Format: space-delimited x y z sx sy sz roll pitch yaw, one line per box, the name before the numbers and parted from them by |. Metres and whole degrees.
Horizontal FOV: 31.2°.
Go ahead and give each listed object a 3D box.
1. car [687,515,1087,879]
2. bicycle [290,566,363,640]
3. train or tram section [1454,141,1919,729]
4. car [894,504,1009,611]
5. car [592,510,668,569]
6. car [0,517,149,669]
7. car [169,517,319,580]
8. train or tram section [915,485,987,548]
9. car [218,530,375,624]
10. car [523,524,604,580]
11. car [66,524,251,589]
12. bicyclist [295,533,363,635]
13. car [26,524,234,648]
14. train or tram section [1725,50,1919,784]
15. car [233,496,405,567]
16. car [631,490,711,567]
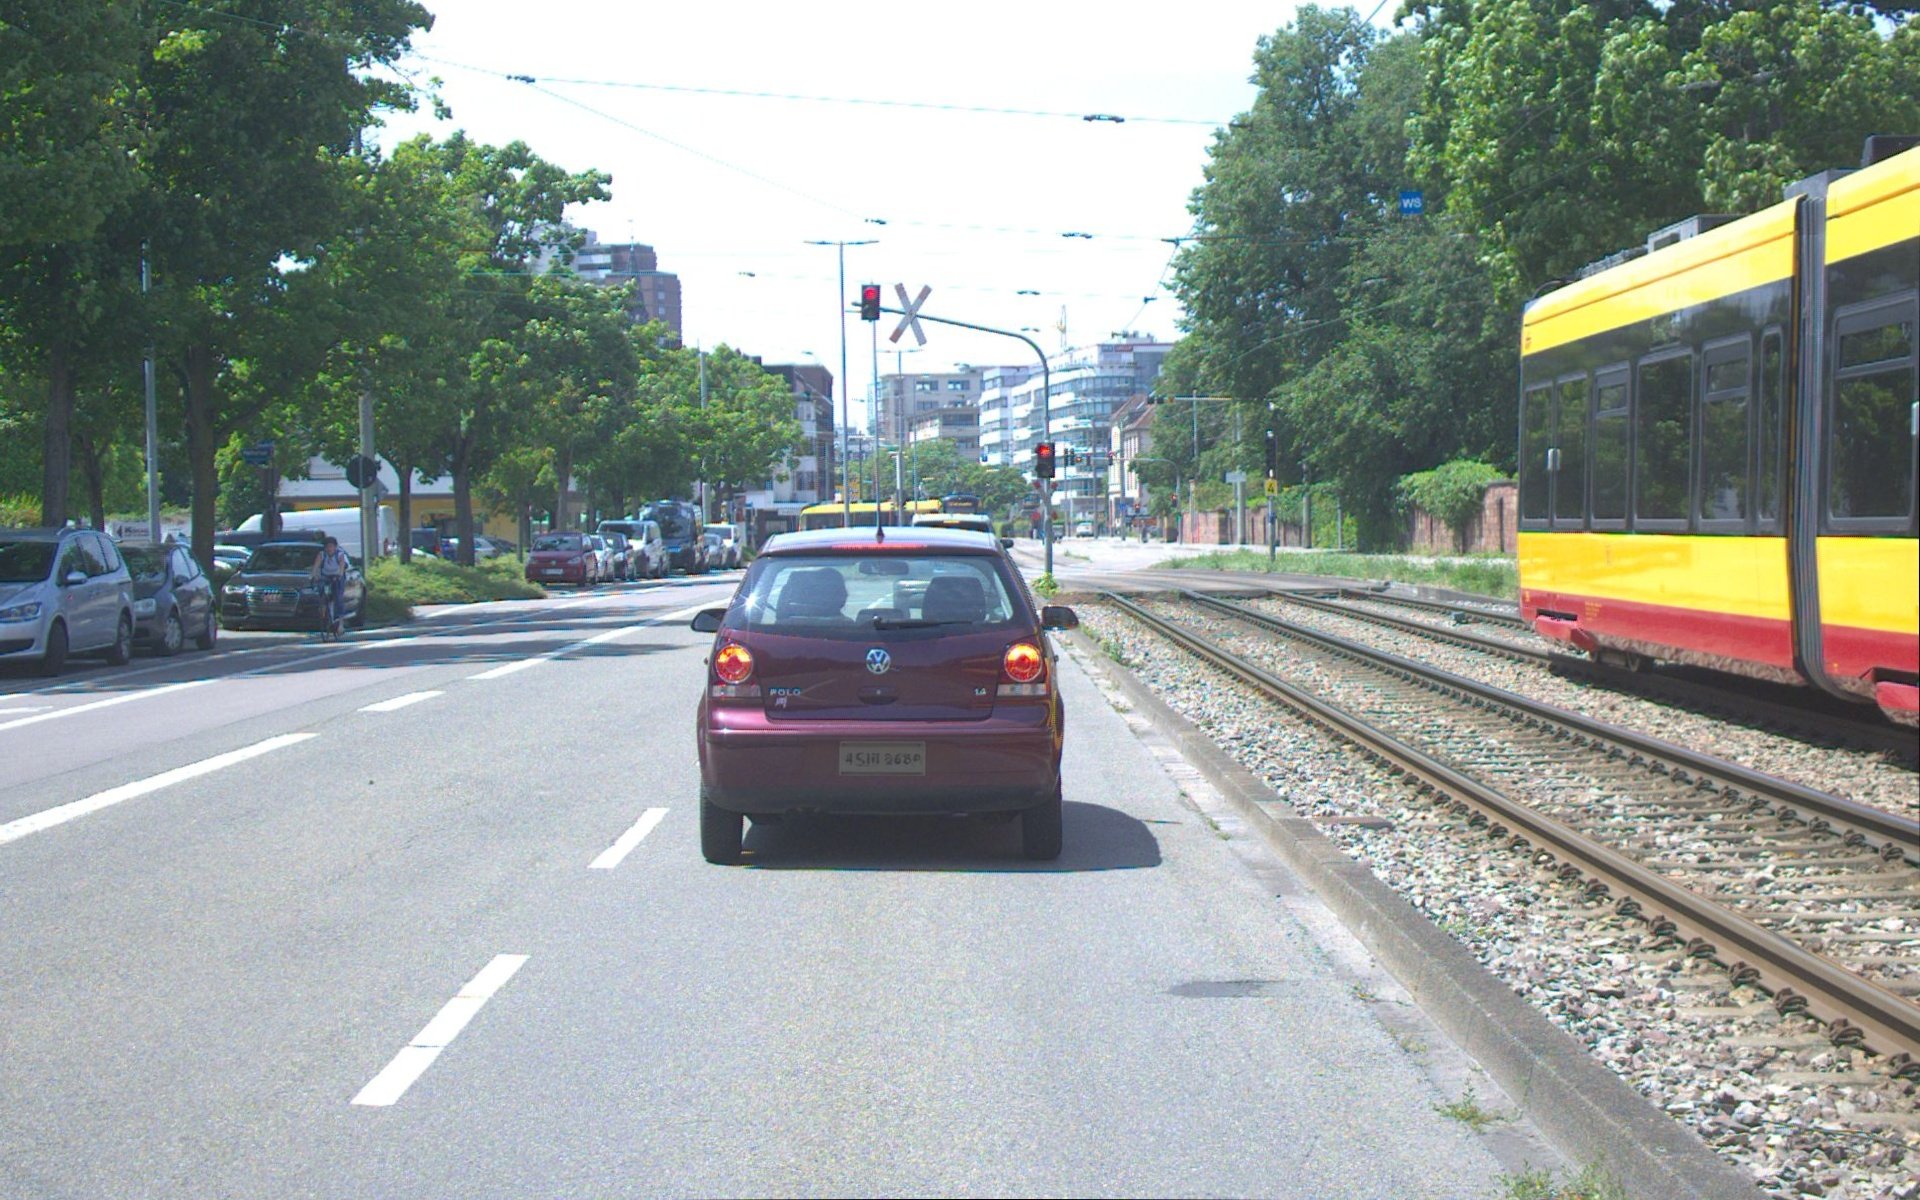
car | -0.342 0.359 16.454 1.672 1.516 4.000 0 1 -1
bicycle | -9.233 0.035 50.174 0.701 0.948 2.243 -4 2 -3
train or tram section | 6.546 -1.245 28.642 3.028 3.785 12.761 -1 1 0
car | -0.166 -0.715 55.512 1.777 1.641 4.000 0 1 -1
car | -10.743 -1.954 112.110 1.783 1.875 4.785 1 1 3
car | -11.061 -0.129 40.576 1.872 1.659 4.781 -1 2 -1
car | -21.105 -1.526 101.483 3.987 1.740 1.998 -2 1 -1
train or tram section | -0.611 -5.008 205.201 2.740 3.597 12.873 1 2 -7
car | -11.058 -0.415 57.585 1.818 1.471 4.449 0 1 -1
car | -10.979 -1.329 95.329 1.663 1.491 4.000 1 1 2
car | -21.128 -1.161 90.724 4.344 1.579 1.912 -1 1 6
bicyclist | -9.214 -0.240 50.253 0.735 1.426 1.125 -4 1 -3
car | -11.077 -0.219 46.117 1.818 1.559 4.181 0 1 -1
train or tram section | 6.465 -0.911 15.765 3.028 3.785 13.090 -1 1 0
car | -20.865 -2.228 112.029 5.097 2.237 2.378 1 1 1
car | -10.491 -2.579 125.144 2.361 2.683 5.307 1 1 1
